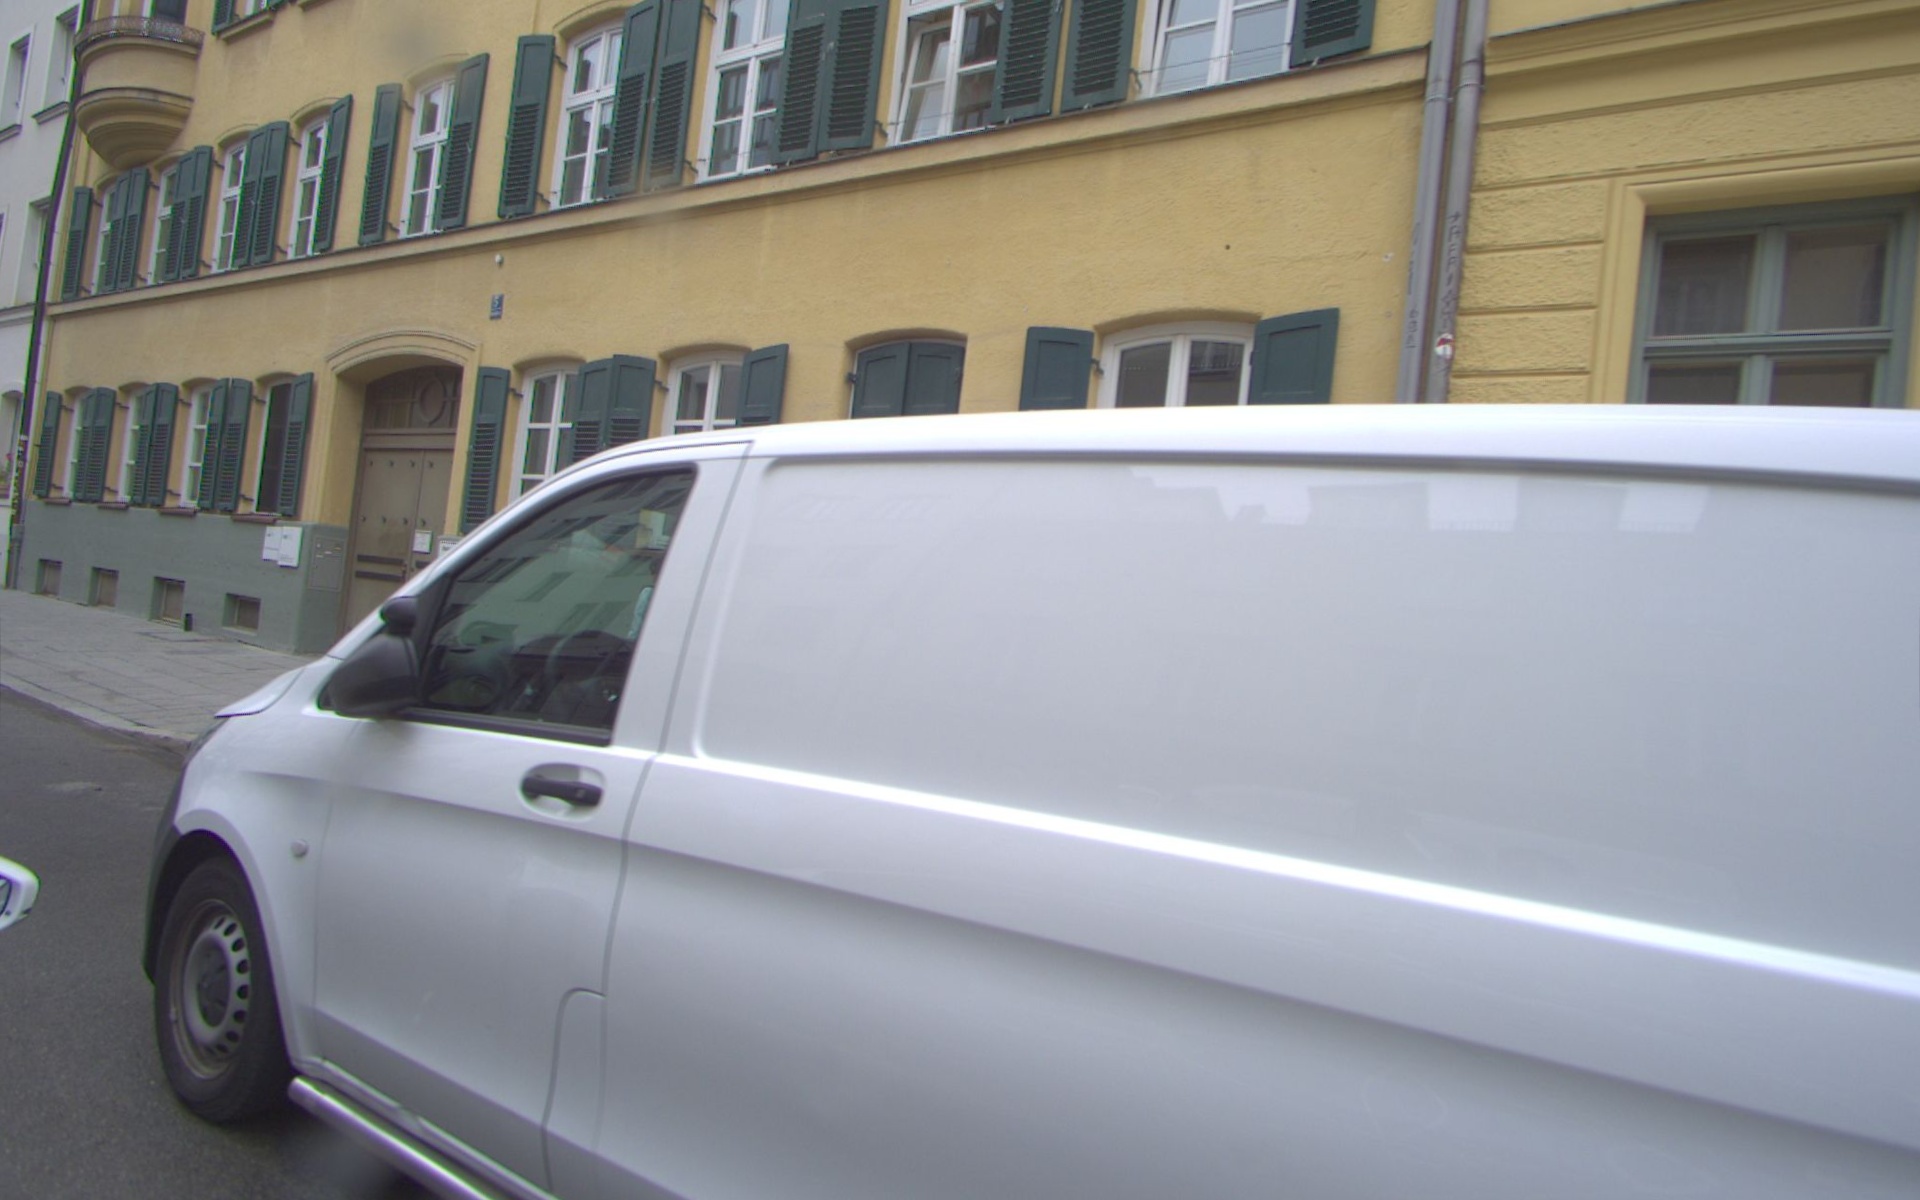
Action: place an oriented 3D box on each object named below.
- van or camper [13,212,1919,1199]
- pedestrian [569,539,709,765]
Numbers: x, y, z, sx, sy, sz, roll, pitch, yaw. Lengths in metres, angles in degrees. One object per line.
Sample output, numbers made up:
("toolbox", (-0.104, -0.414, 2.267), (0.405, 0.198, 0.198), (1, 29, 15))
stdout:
("van or camper", (-0.264, 0.524, 2.619), (4.995, 1.893, 1.837), (6, -2, 32))
("pedestrian", (-2.421, 0.378, 7.615), (0.631, 1.592, 0.661), (5, 1, 31))
